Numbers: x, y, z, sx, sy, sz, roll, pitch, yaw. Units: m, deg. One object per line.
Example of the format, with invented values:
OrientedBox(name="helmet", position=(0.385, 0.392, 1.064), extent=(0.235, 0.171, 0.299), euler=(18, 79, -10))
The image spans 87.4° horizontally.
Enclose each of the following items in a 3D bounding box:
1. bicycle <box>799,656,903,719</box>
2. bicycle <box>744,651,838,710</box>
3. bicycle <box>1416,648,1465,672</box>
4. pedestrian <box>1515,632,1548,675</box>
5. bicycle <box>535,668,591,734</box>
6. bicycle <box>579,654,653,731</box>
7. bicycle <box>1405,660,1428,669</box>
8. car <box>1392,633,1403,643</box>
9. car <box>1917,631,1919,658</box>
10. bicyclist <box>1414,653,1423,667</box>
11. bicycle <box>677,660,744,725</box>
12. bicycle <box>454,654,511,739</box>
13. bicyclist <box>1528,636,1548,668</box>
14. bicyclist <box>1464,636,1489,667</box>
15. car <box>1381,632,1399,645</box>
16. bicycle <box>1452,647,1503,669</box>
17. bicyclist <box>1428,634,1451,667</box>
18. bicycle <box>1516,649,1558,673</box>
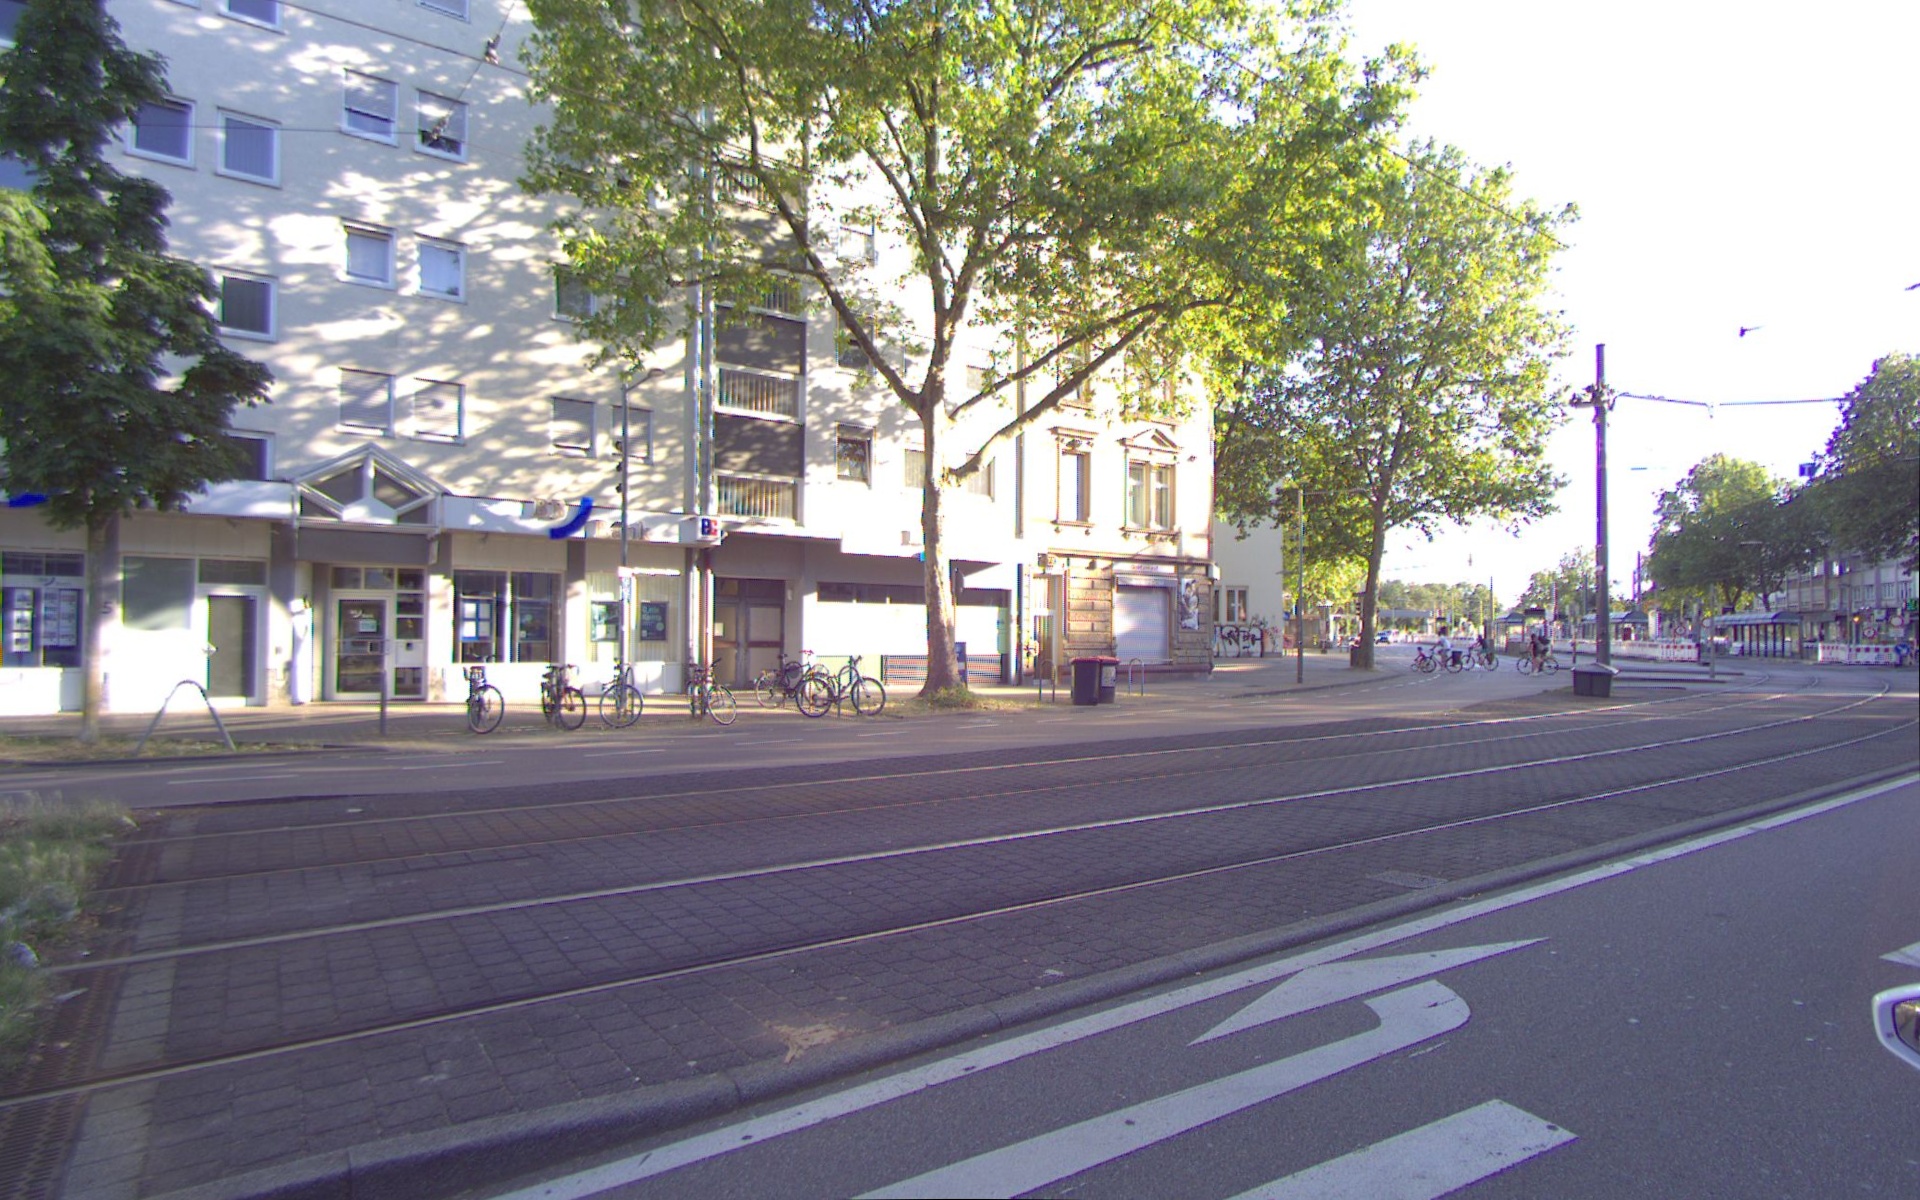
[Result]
OrientedBox(name="bicycle", position=(-2.005, 1.597, 18.567), extent=(1.801, 1.091, 0.649), euler=(2, -2, -31))
OrientedBox(name="bicycle", position=(-3.396, 1.601, 20.255), extent=(1.777, 1.132, 0.617), euler=(1, -2, -30))
OrientedBox(name="bicycle", position=(21.405, 2.683, 44.792), extent=(1.883, 1.018, 0.618), euler=(-1, -2, 36))
OrientedBox(name="pedestrian", position=(23.172, 2.155, 40.710), extent=(0.639, 1.708, 0.985), euler=(3, -2, -41))
OrientedBox(name="bicycle", position=(-6.334, 1.577, 15.983), extent=(0.467, 0.900, 1.729), euler=(2, -1, -34))
OrientedBox(name="bicycle", position=(-5.665, 1.477, 16.492), extent=(0.724, 1.128, 1.729), euler=(2, -1, -34))
OrientedBox(name="bicycle", position=(21.317, 3.025, 46.904), extent=(0.946, 0.404, 0.288), euler=(-1, -2, 40))
OrientedBox(name="car", position=(79.218, 6.811, 181.835), extent=(1.814, 1.706, 3.715), euler=(-2, -2, 23))
OrientedBox(name="car", position=(64.790, 2.993, 65.521), extent=(1.960, 1.815, 4.000), euler=(2, -1, 20))
OrientedBox(name="bicyclist", position=(21.379, 2.798, 46.860), extent=(0.304, 0.597, 0.279), euler=(-1, -2, 40))
OrientedBox(name="bicycle", position=(-4.376, 1.589, 17.544), extent=(0.584, 1.002, 1.729), euler=(2, -1, -34))
OrientedBox(name="bicycle", position=(-7.205, 1.416, 15.119), extent=(0.506, 1.153, 1.729), euler=(2, -1, -34))
OrientedBox(name="bicyclist", position=(24.143, 2.164, 41.981), extent=(0.631, 1.310, 0.455), euler=(-1, -2, 42))
OrientedBox(name="bicyclist", position=(24.299, 2.414, 47.237), extent=(0.751, 1.463, 0.831), euler=(2, -2, -44))
OrientedBox(name="car", position=(55.968, 4.950, 130.614), extent=(1.962, 1.661, 3.997), euler=(0, -2, 25))
OrientedBox(name="bicycle", position=(24.319, 2.736, 47.208), extent=(0.755, 0.950, 1.999), euler=(2, -2, -43))
OrientedBox(name="bicyclist", position=(21.401, 2.259, 44.811), extent=(0.828, 1.463, 0.625), euler=(-1, -2, 36))
OrientedBox(name="bicycle", position=(24.119, 2.540, 41.989), extent=(1.488, 0.998, 0.448), euler=(-1, -2, 42))
